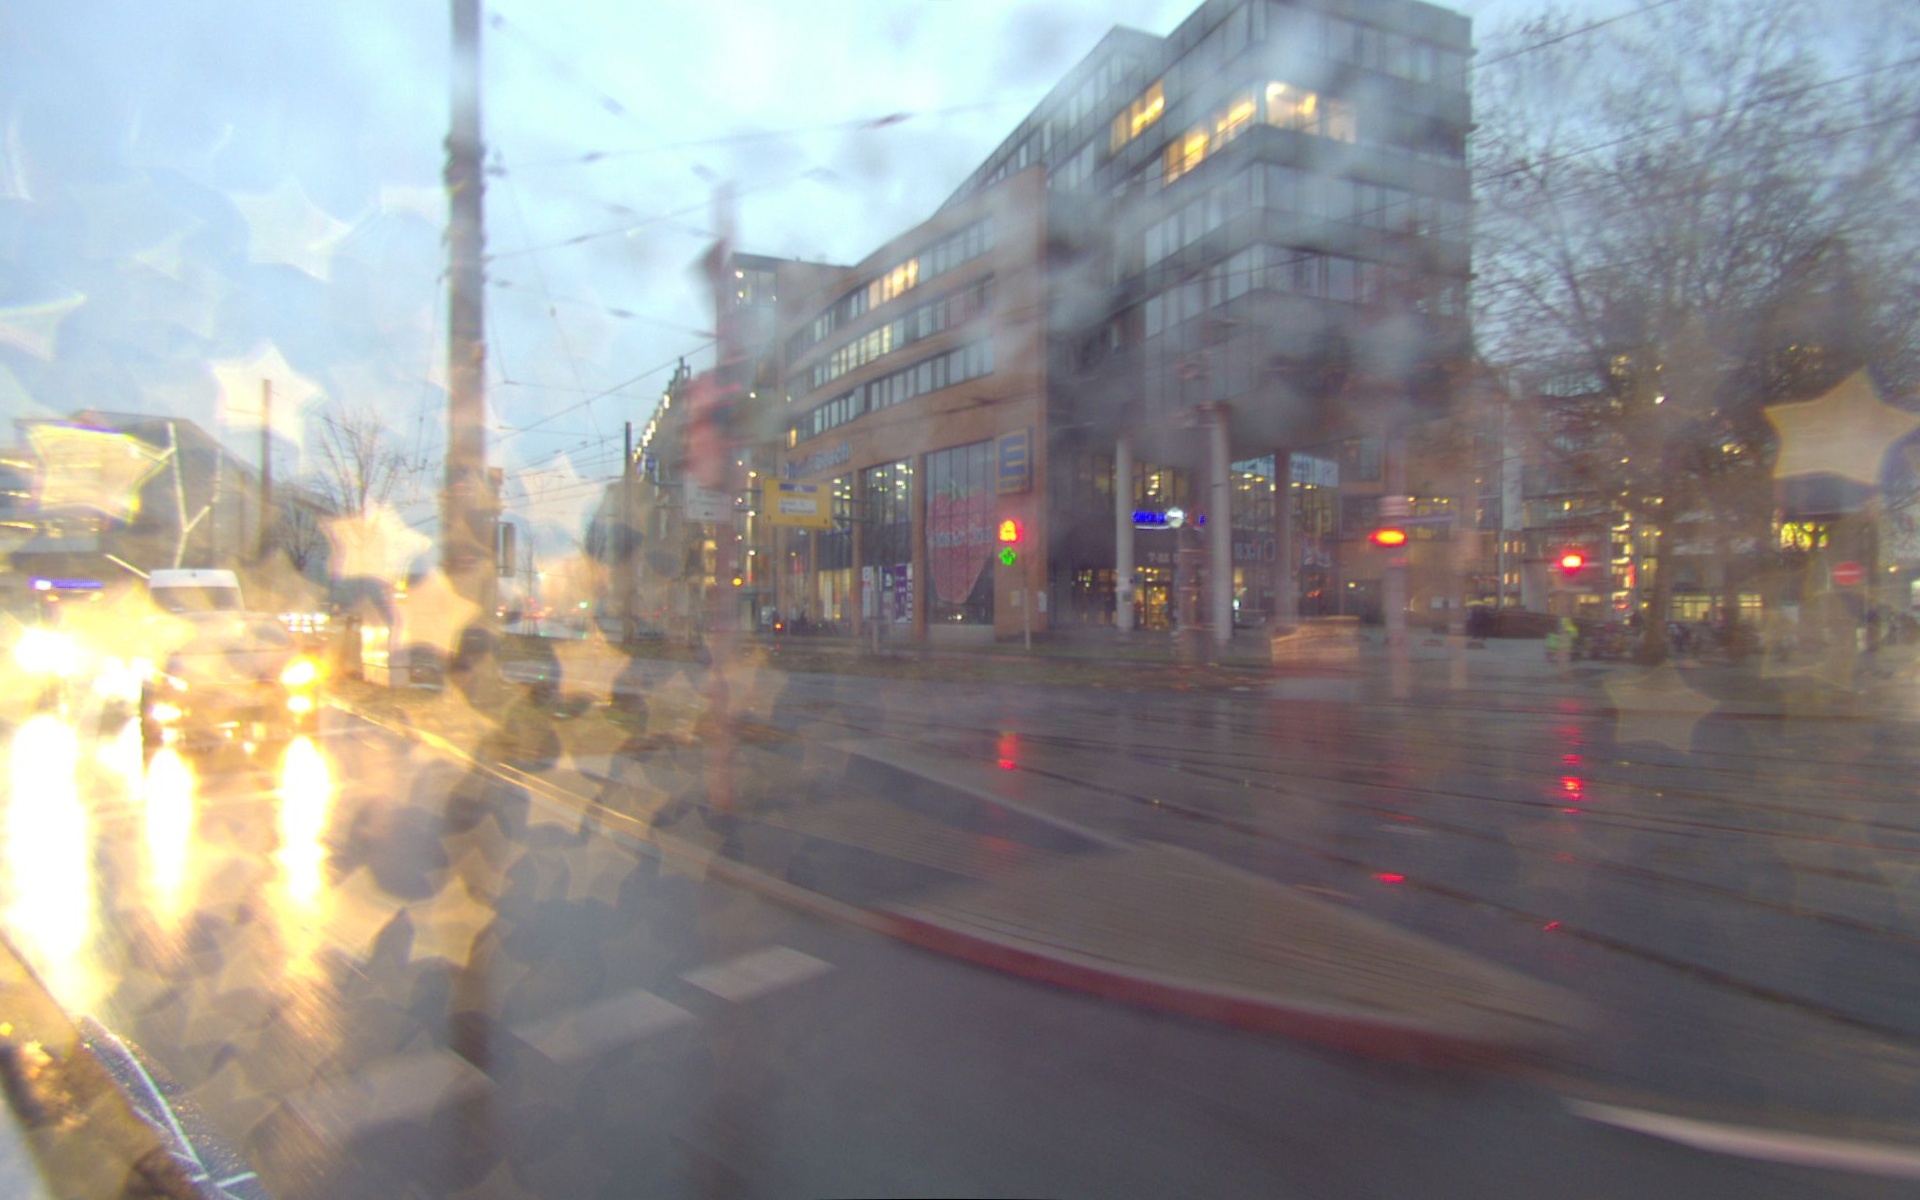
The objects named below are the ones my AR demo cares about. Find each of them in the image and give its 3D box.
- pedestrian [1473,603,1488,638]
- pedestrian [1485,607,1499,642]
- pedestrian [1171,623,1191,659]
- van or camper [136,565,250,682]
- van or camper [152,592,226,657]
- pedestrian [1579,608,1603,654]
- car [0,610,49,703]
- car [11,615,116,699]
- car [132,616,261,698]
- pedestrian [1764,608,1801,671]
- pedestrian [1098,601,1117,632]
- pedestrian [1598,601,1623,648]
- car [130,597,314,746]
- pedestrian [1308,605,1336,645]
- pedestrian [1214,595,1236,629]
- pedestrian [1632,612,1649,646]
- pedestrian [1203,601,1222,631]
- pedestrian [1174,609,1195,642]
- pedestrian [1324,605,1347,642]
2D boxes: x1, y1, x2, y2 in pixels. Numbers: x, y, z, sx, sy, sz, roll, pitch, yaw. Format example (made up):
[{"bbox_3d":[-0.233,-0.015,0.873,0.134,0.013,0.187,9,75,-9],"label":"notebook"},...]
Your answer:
[{"bbox_3d":[26.700,1.041,51.931,0.644,1.764,0.447,1,-1,-41],"label":"pedestrian"},{"bbox_3d":[27.121,1.228,51.595,0.644,1.764,0.447,1,-1,-41],"label":"pedestrian"},{"bbox_3d":[7.925,1.454,36.285,0.439,1.274,0.496,-1,0,-45],"label":"pedestrian"},{"bbox_3d":[-19.200,0.512,25.247,2.030,2.567,5.896,-1,0,-39],"label":"van or camper"},{"bbox_3d":[-30.678,0.930,40.397,2.151,2.370,5.663,-2,0,-36],"label":"van or camper"},{"bbox_3d":[23.398,1.151,37.510,0.592,1.696,0.558,-1,-1,16],"label":"pedestrian"},{"bbox_3d":[-17.001,0.917,17.505,1.747,1.469,4.228,1,-1,-41],"label":"car"},{"bbox_3d":[-21.050,1.267,23.879,1.659,1.746,3.720,-2,0,-39],"label":"car"},{"bbox_3d":[-14.798,1.017,19.531,1.797,1.342,4.232,-2,0,-39],"label":"car"},{"bbox_3d":[26.873,1.286,33.071,0.755,2.029,0.701,0,-1,26],"label":"pedestrian"},{"bbox_3d":[7.384,0.812,50.578,0.642,1.515,0.696,1,-2,-32],"label":"pedestrian"},{"bbox_3d":[23.634,0.882,36.786,0.592,1.696,0.558,-1,-1,17],"label":"pedestrian"},{"bbox_3d":[-9.403,0.793,12.800,1.659,1.585,3.767,1,-1,-39],"label":"car"},{"bbox_3d":[16.812,1.163,47.033,0.762,1.859,0.925,1,-2,-32],"label":"pedestrian"},{"bbox_3d":[13.574,0.632,51.860,0.923,1.721,0.686,-1,-2,32],"label":"pedestrian"},{"bbox_3d":[34.190,1.439,50.847,0.589,1.696,0.562,1,-1,-45],"label":"pedestrian"},{"bbox_3d":[12.860,0.812,51.624,0.642,1.515,0.696,1,-2,-32],"label":"pedestrian"},{"bbox_3d":[10.410,1.176,46.961,0.642,1.515,0.696,1,-2,-32],"label":"pedestrian"},{"bbox_3d":[17.621,1.095,47.471,0.715,1.721,0.696,1,-2,-32],"label":"pedestrian"}]
